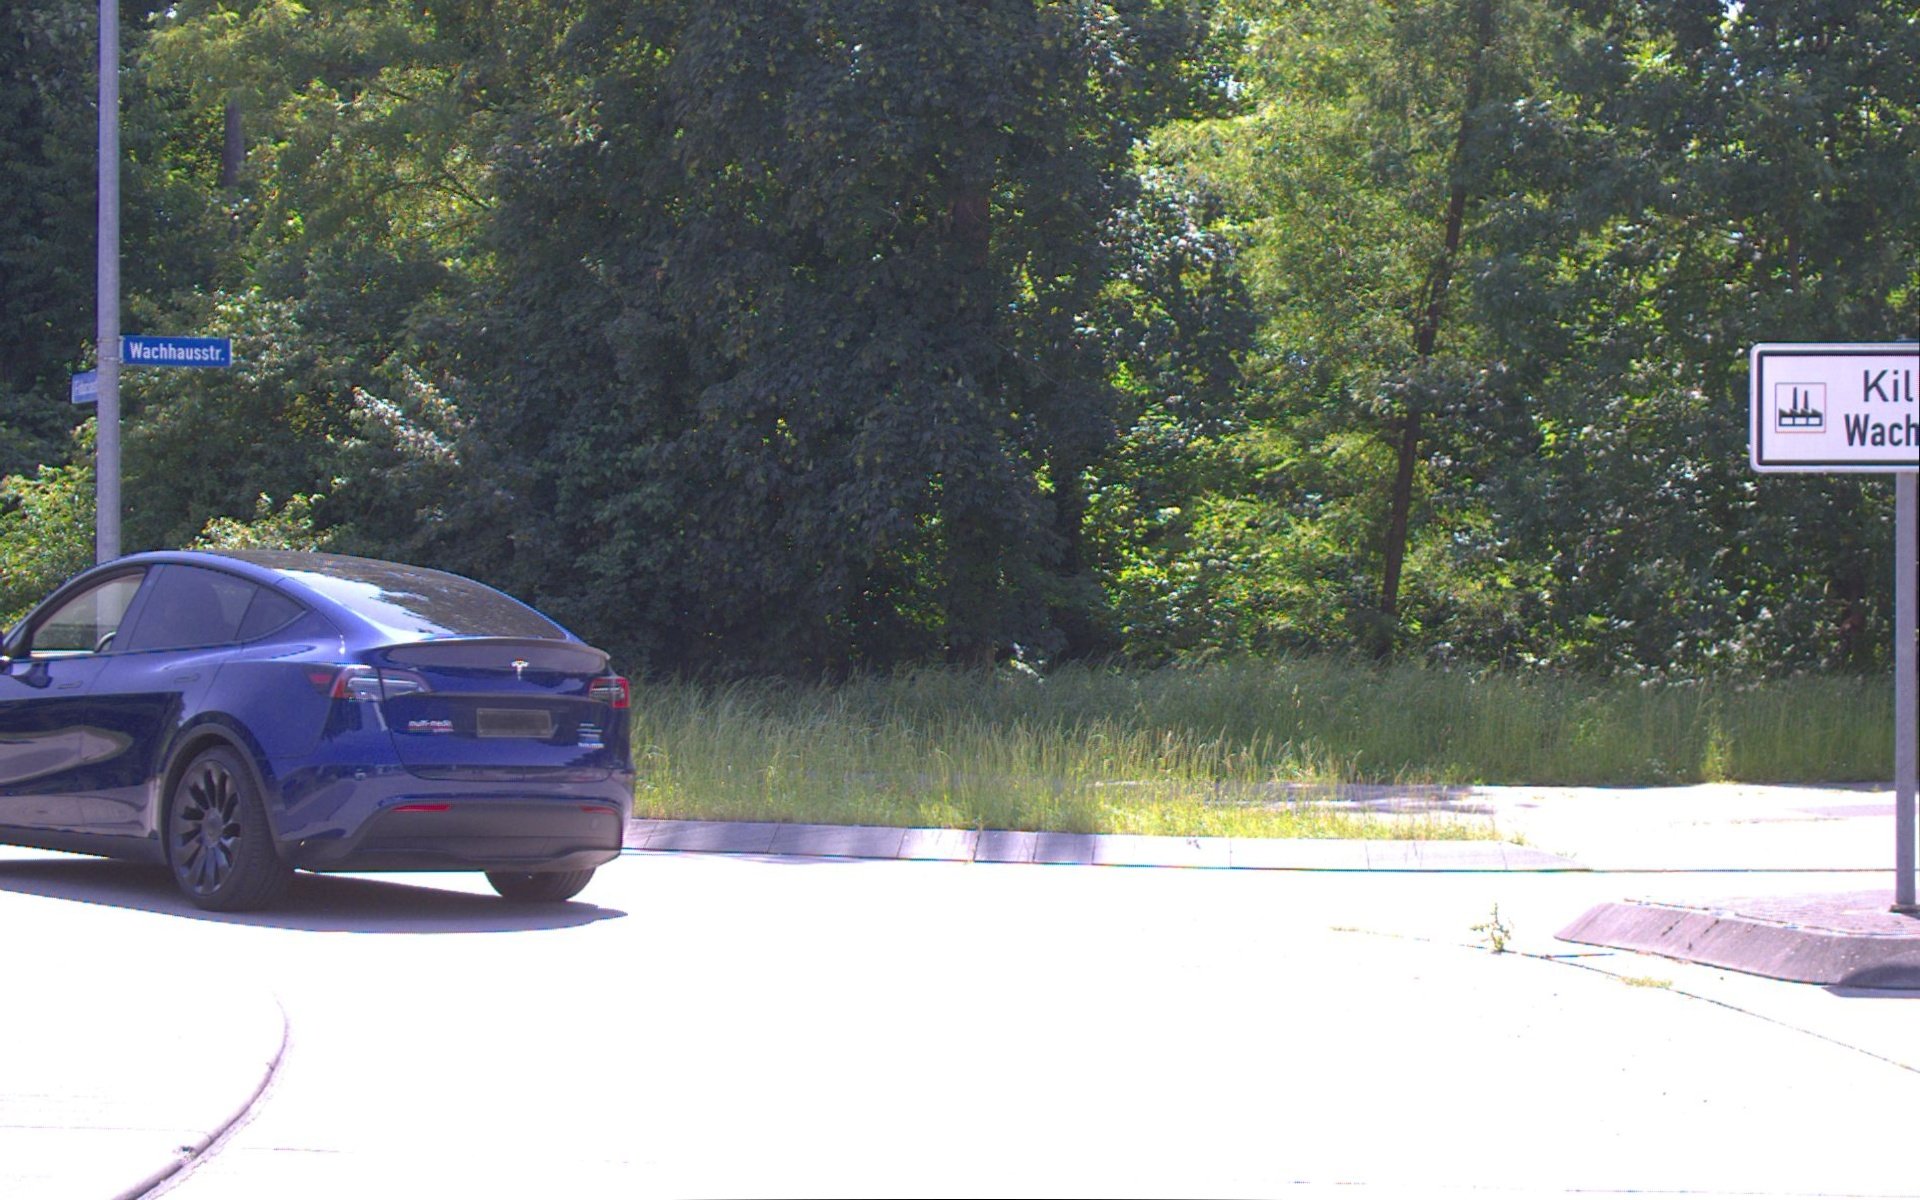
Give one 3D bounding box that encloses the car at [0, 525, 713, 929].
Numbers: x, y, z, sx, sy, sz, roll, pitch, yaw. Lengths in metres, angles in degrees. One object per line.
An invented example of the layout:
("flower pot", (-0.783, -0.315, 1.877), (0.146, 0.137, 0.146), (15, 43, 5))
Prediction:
("car", (-3.437, 0.508, 16.332), (1.994, 1.634, 4.755), (0, 0, -43))
